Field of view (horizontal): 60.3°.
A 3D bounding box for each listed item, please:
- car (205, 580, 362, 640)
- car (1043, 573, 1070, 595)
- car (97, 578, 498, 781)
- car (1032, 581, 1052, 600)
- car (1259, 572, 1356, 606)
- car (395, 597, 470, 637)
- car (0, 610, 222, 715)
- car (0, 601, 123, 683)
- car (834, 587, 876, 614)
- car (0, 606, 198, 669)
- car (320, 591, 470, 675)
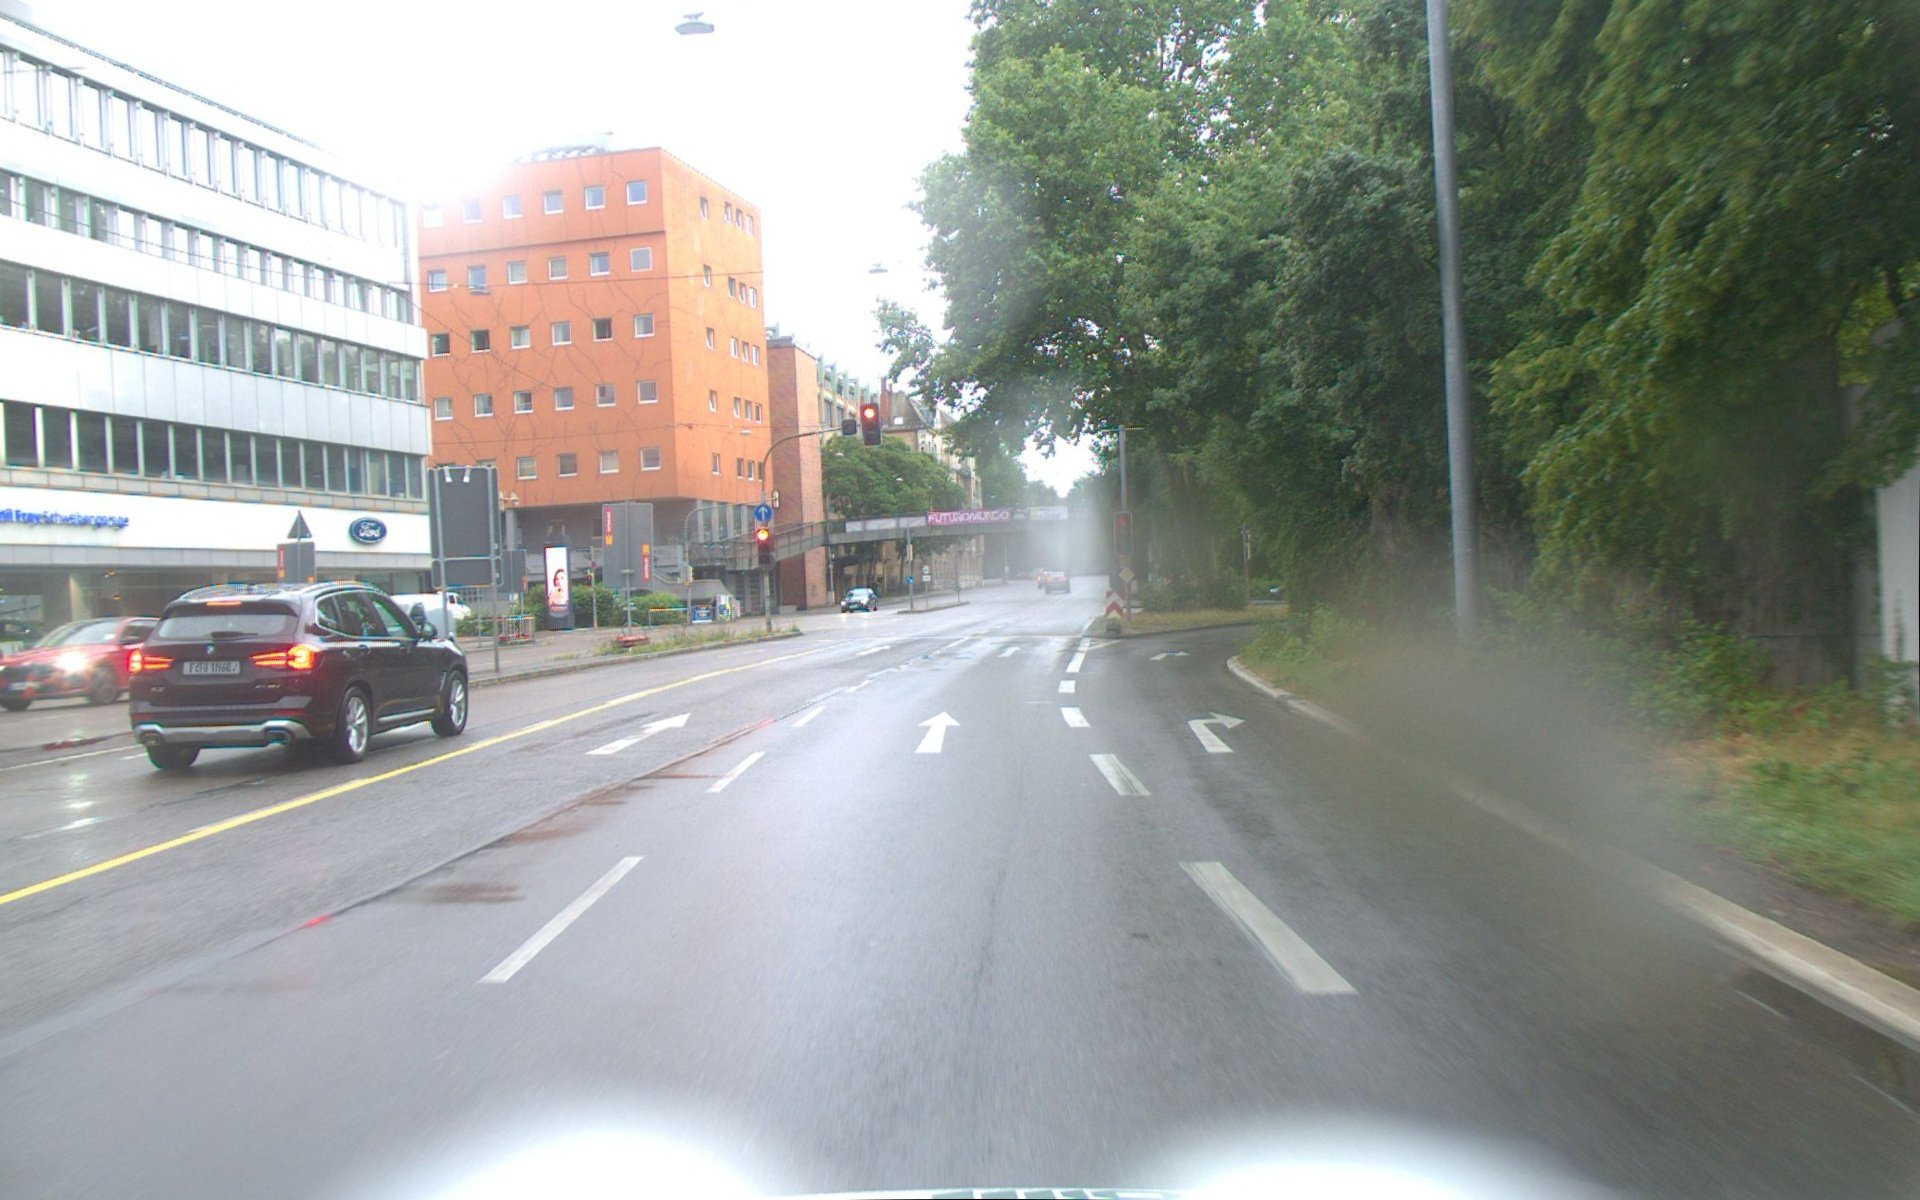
[{"bbox_3d":[-24.084,0.340,59.000,4.665,1.768,1.998,-4,0,-5],"label":"car"},{"bbox_3d":[7.951,-1.341,136.425,2.076,1.765,4.200,-1,2,2],"label":"car"},{"bbox_3d":[-6.291,0.651,16.408,1.907,1.625,4.672,-1,2,2],"label":"car"},{"bbox_3d":[8.239,-0.954,165.543,1.726,1.726,3.708,-4,0,5],"label":"car"},{"bbox_3d":[17.702,-0.556,84.399,4.511,1.476,1.773,-3,0,-3],"label":"car"},{"bbox_3d":[-28.297,0.881,88.941,1.951,2.049,4.856,2,1,7],"label":"car"},{"bbox_3d":[-14.867,1.032,28.708,1.791,1.528,4.375,-4,0,4],"label":"car"},{"bbox_3d":[-26.218,1.246,45.903,5.136,2.046,1.980,-4,0,-30],"label":"car"},{"bbox_3d":[-6.391,0.014,100.984,1.951,1.545,4.003,-3,0,5],"label":"car"},{"bbox_3d":[-26.918,1.160,51.792,5.095,1.547,1.995,-4,0,-10],"label":"car"},{"bbox_3d":[-13.658,0.751,40.262,1.697,1.817,4.304,-4,0,6],"label":"car"}]
